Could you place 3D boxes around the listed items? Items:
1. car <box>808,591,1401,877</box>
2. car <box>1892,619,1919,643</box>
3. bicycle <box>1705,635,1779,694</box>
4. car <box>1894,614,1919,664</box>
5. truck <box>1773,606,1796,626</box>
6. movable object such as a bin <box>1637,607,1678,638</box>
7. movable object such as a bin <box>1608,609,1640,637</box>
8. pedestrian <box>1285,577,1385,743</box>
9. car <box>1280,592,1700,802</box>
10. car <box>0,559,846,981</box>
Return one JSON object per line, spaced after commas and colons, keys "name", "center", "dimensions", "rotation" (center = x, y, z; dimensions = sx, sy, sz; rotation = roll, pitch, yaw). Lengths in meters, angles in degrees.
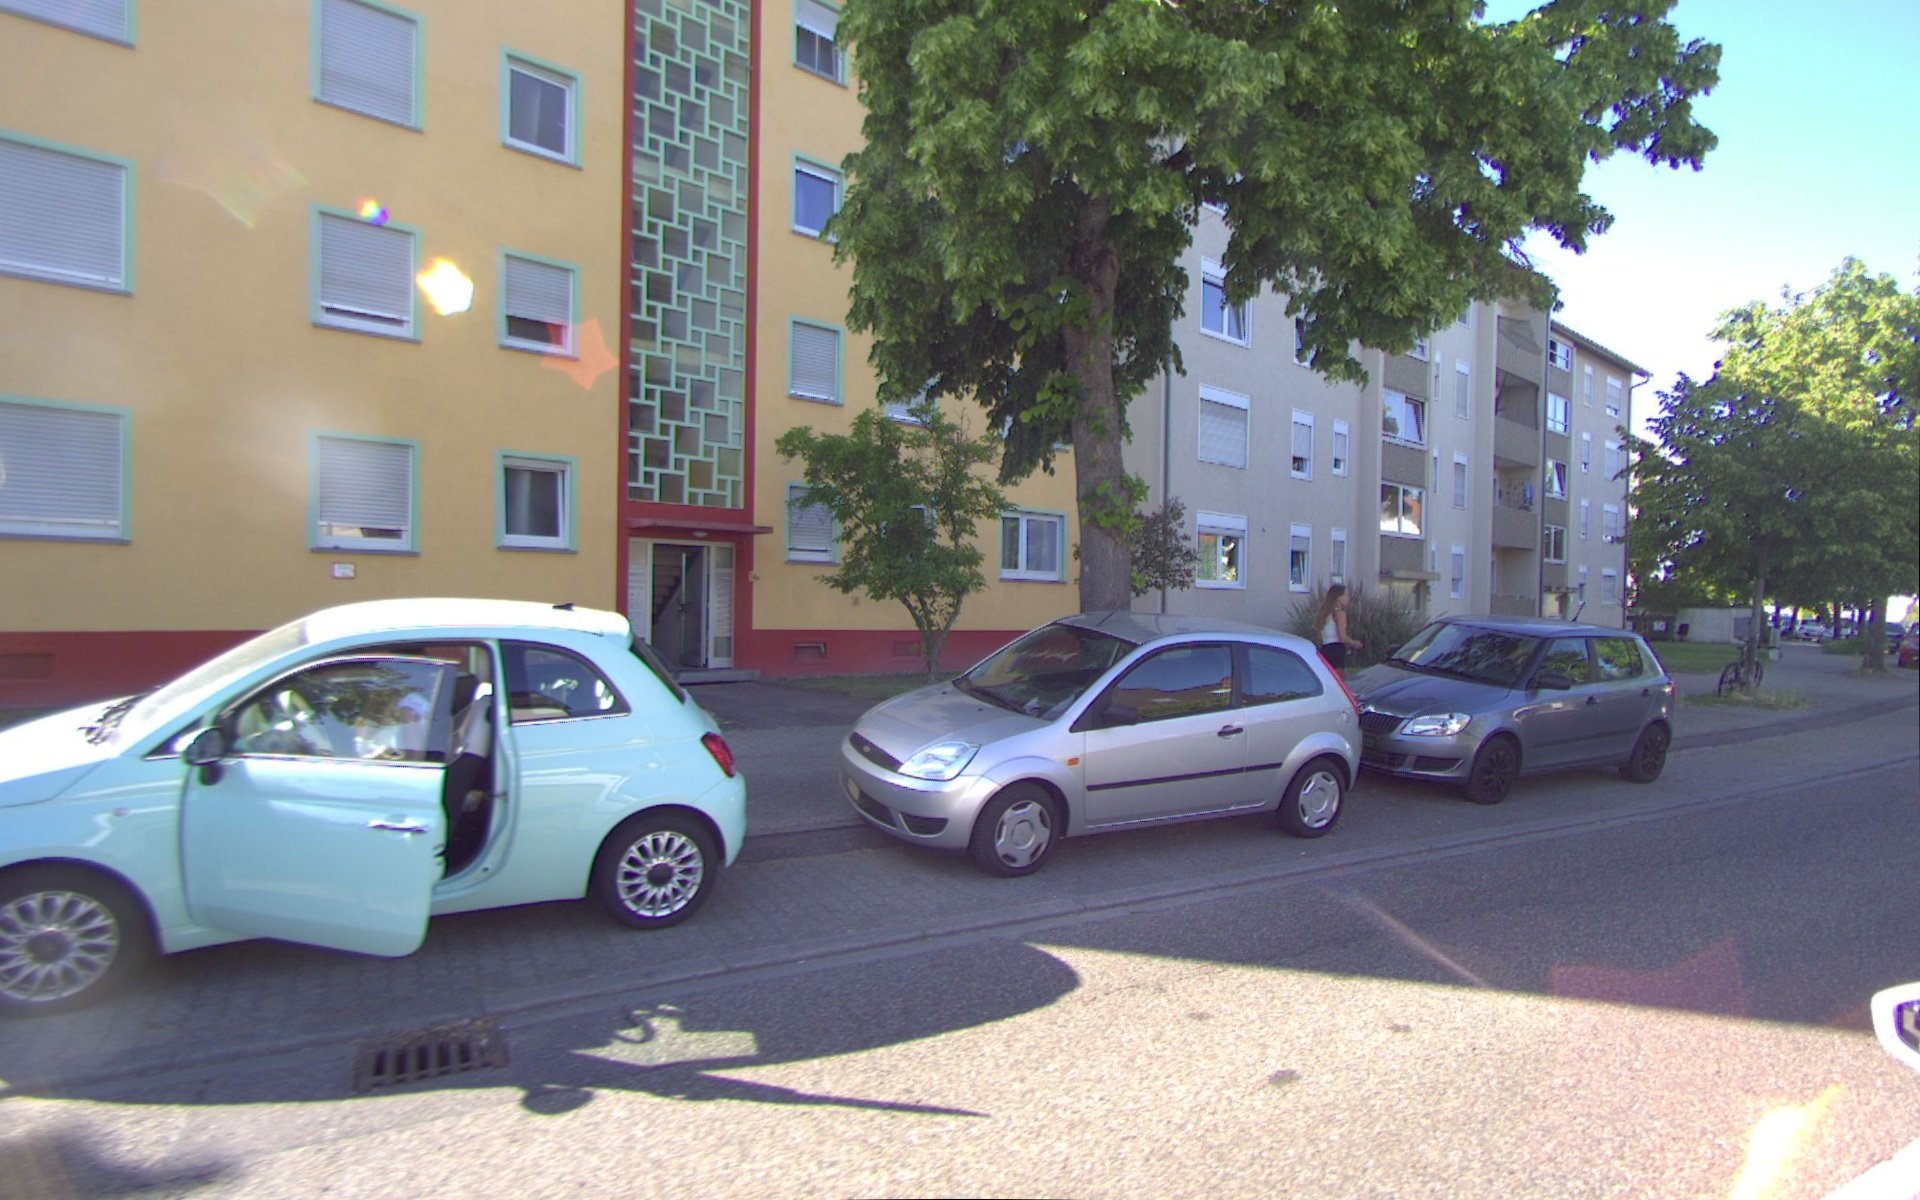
{"name": "car", "center": [1.086, 0.762, 7.137], "dimensions": [3.950, 1.530, 1.651], "rotation": [1, 1, -28]}
{"name": "car", "center": [73.119, 2.385, 76.895], "dimensions": [1.978, 1.747, 4.281], "rotation": [1, -1, 34]}
{"name": "bicycle", "center": [13.786, 1.120, 17.698], "dimensions": [1.863, 0.982, 0.365], "rotation": [1, 0, -31]}
{"name": "car", "center": [31.162, 1.256, 32.245], "dimensions": [1.670, 1.511, 4.266], "rotation": [3, 1, 43]}
{"name": "truck", "center": [120.590, 2.320, 146.976], "dimensions": [2.176, 2.633, 5.129], "rotation": [2, -2, 35]}
{"name": "movable object such as a bin", "center": [34.598, 1.115, 49.845], "dimensions": [1.502, 1.446, 1.081], "rotation": [1, -2, 45]}
{"name": "movable object such as a bin", "center": [33.616, 1.144, 50.834], "dimensions": [1.160, 1.339, 1.081], "rotation": [1, -2, 45]}
{"name": "pedestrian", "center": [4.115, 0.650, 11.028], "dimensions": [0.712, 1.741, 0.682], "rotation": [3, -1, -30]}
{"name": "car", "center": [5.066, 0.789, 9.519], "dimensions": [3.870, 1.551, 1.560], "rotation": [1, 4, -29]}
{"name": "car", "center": [-2.769, 0.689, 5.043], "dimensions": [4.002, 1.543, 1.694], "rotation": [3, -2, -28]}
